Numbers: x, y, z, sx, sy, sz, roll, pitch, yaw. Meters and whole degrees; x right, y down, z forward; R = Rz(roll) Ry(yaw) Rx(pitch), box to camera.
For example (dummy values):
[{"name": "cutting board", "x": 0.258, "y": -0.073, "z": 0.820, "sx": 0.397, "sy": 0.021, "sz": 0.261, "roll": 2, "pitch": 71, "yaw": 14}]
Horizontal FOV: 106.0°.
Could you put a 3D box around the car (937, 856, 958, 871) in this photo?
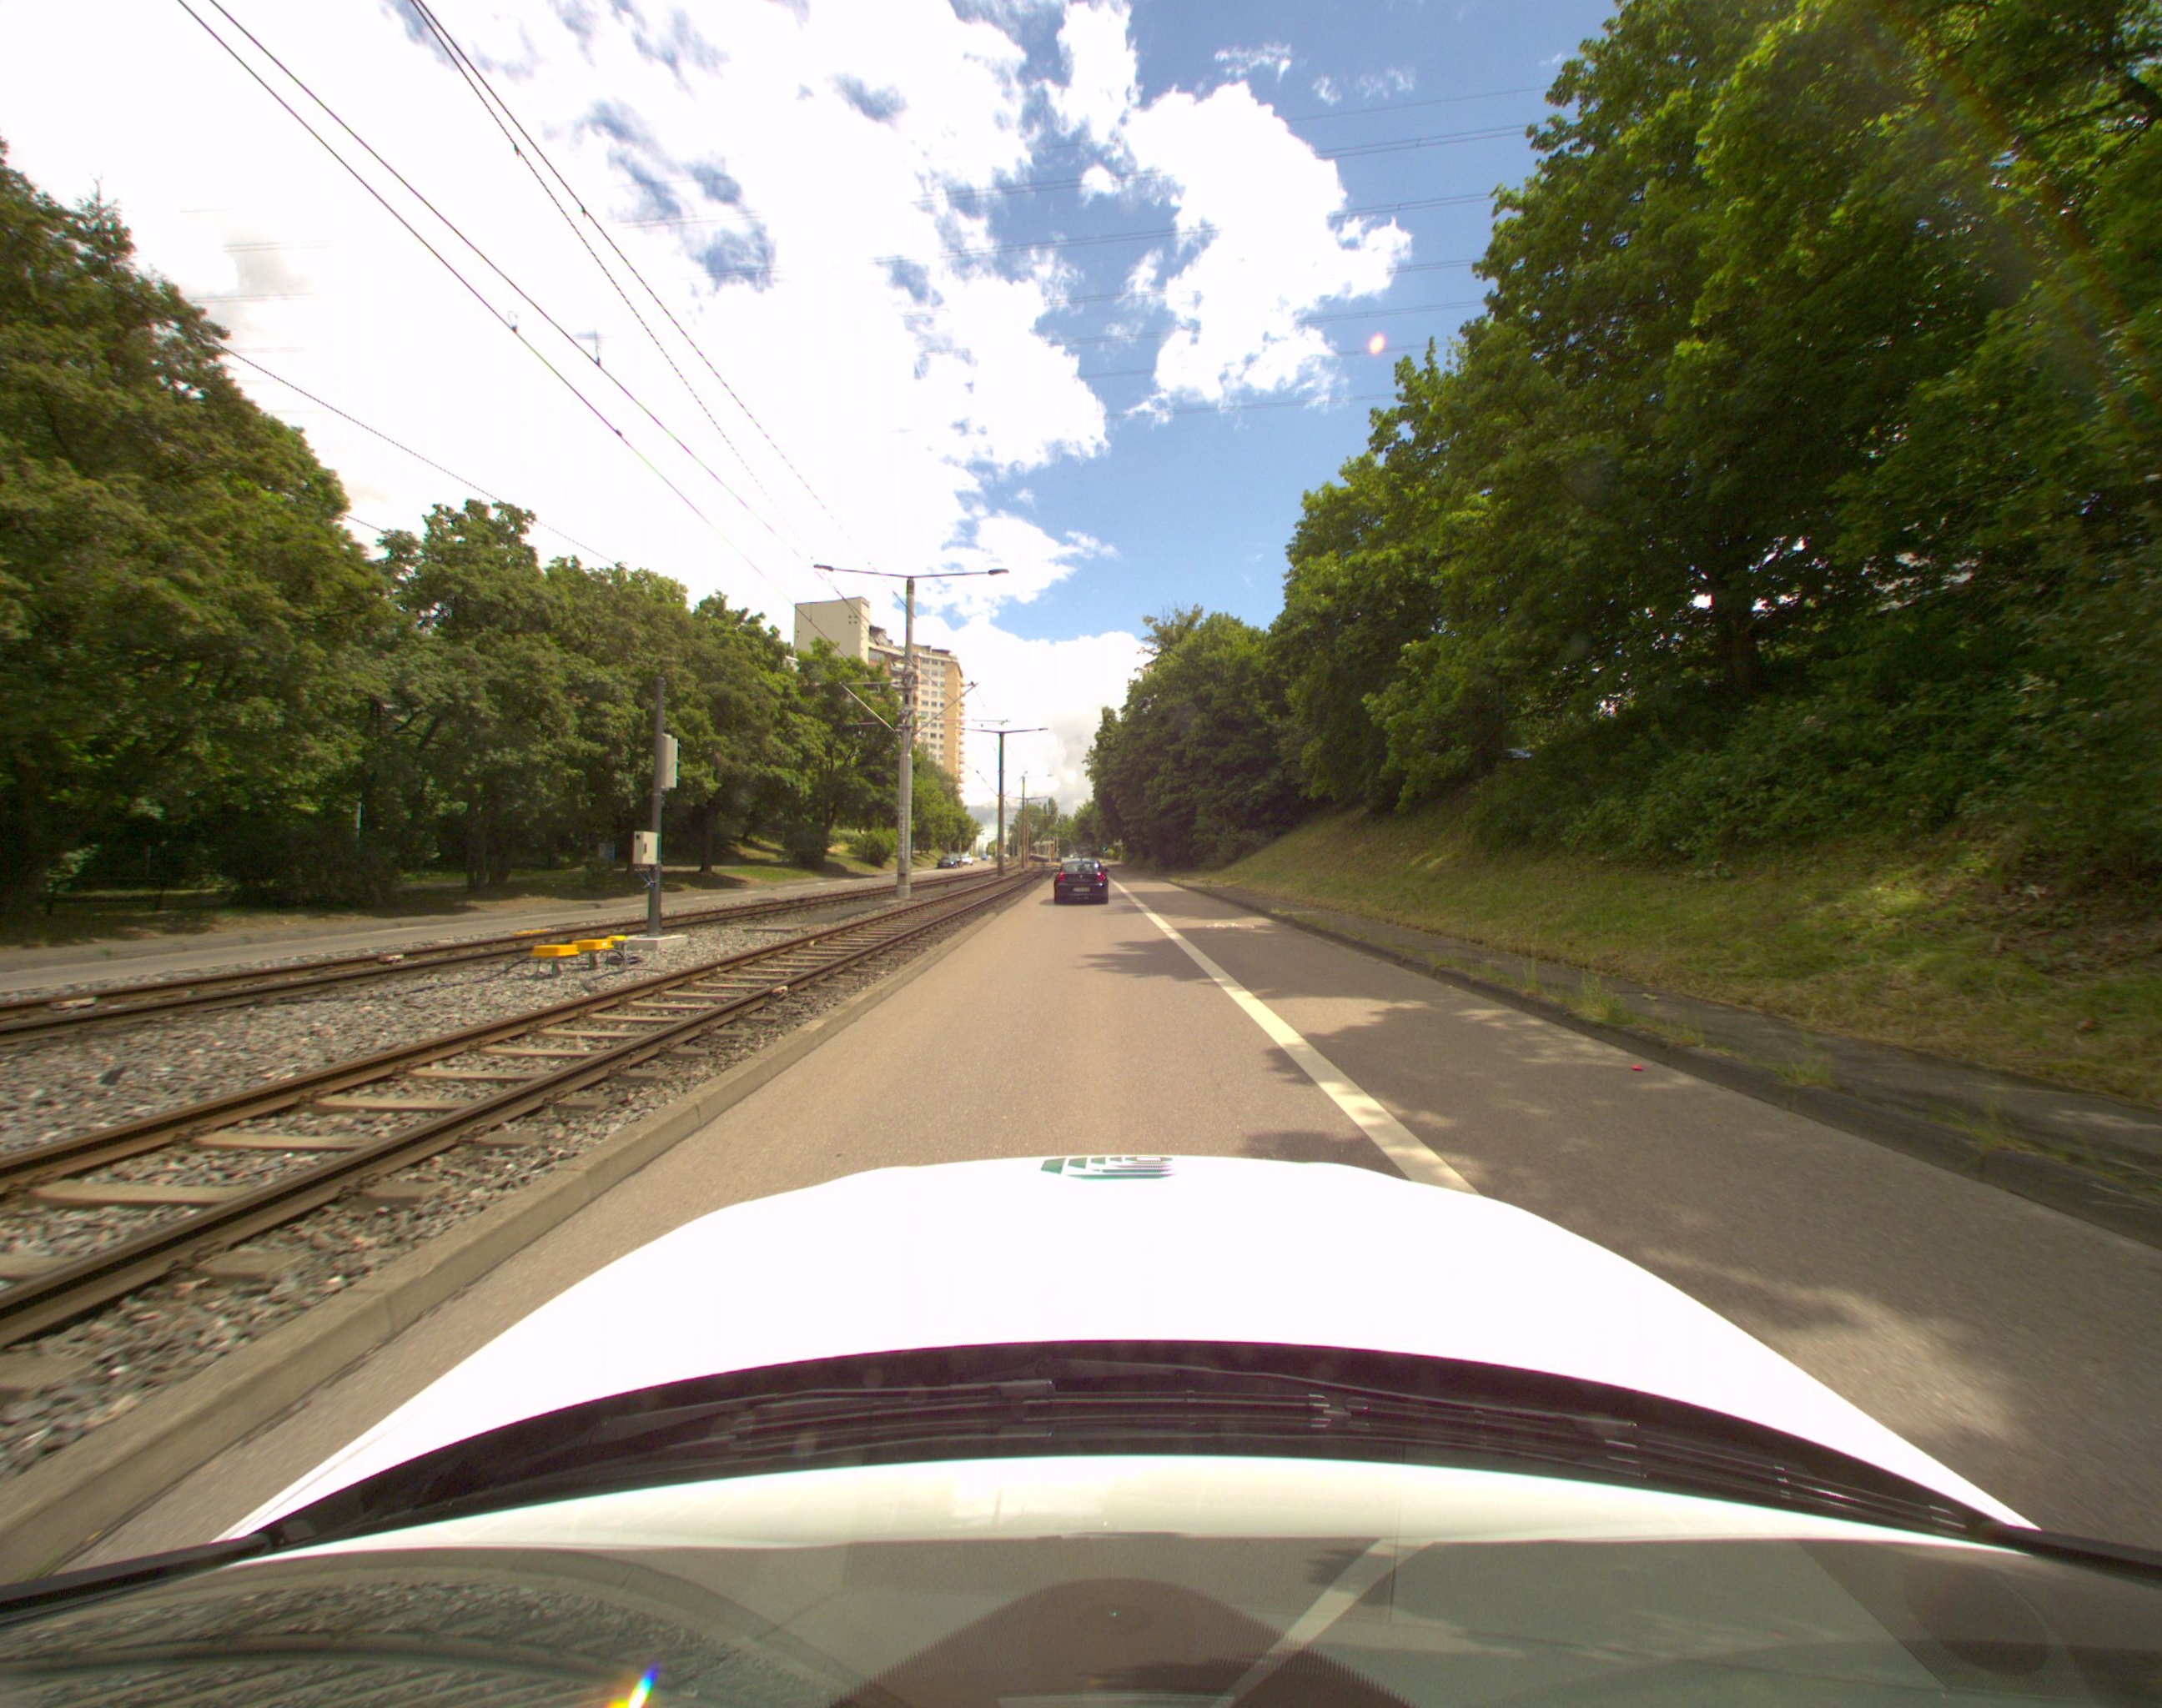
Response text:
[{"name": "car", "x": -14.315, "y": 1.004, "z": 87.241, "sx": 1.770, "sy": 1.498, "sz": 3.993, "roll": 0, "pitch": 0, "yaw": -3}]

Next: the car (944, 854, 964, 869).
[{"name": "car", "x": -14.594, "y": 0.837, "z": 93.907, "sx": 1.770, "sy": 1.630, "sz": 4.377, "roll": -1, "pitch": -1, "yaw": -3}]

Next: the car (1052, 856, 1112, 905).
[{"name": "car", "x": -0.049, "y": 0.812, "z": 26.678, "sx": 1.777, "sy": 1.459, "sz": 3.917, "roll": -1, "pitch": 0, "yaw": -2}]

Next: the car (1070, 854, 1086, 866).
[{"name": "car", "x": -0.425, "y": 0.699, "z": 101.000, "sx": 1.778, "sy": 1.459, "sz": 3.915, "roll": 0, "pitch": 0, "yaw": -4}]

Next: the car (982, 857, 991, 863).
[{"name": "car", "x": -21.840, "y": 1.306, "z": 187.796, "sx": 1.716, "sy": 1.442, "sz": 3.927, "roll": 0, "pitch": 0, "yaw": -11}]

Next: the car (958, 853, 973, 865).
[{"name": "car", "x": -15.728, "y": 0.681, "z": 110.963, "sx": 1.779, "sy": 1.532, "sz": 4.235, "roll": -1, "pitch": 0, "yaw": -6}]
